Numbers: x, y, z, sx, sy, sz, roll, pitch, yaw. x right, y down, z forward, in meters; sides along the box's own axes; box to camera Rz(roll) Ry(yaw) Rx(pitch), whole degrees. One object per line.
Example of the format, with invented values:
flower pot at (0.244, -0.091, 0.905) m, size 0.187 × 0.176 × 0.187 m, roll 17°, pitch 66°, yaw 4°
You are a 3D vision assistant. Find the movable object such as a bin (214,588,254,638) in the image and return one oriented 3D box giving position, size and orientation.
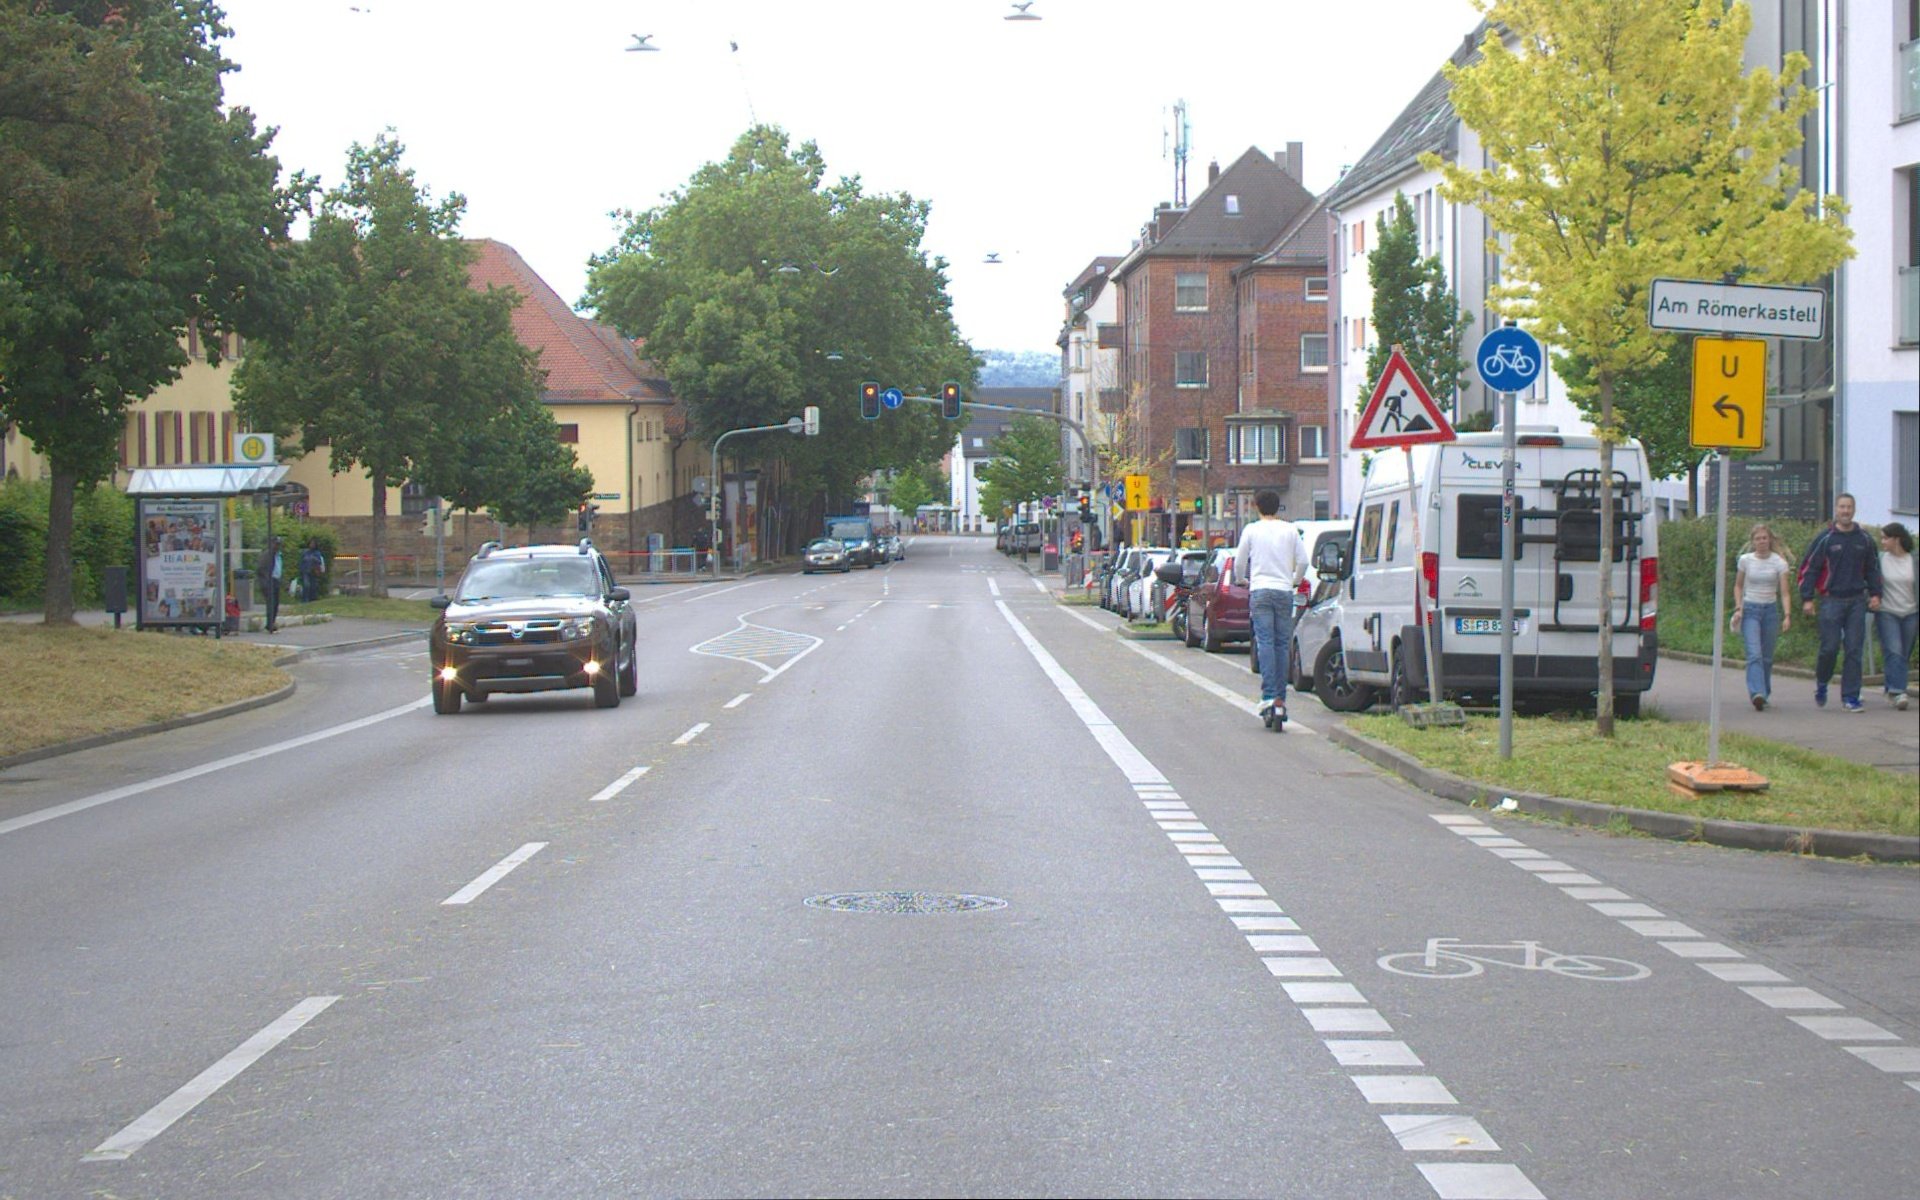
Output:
movable object such as a bin at (-12.565, 0.228, 59.507) m, size 0.536 × 0.843 × 0.665 m, roll 1°, pitch 1°, yaw 1°

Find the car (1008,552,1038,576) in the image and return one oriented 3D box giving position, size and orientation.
car at (4.039, -2.325, 221.508) m, size 1.668 × 1.542 × 3.757 m, roll 0°, pitch 1°, yaw -3°

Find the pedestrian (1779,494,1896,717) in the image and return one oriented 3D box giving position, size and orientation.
pedestrian at (7.520, 0.048, 29.468) m, size 0.670 × 1.880 × 0.766 m, roll -1°, pitch 0°, yaw -12°

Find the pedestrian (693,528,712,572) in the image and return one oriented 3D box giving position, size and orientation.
pedestrian at (-10.320, -2.010, 137.888) m, size 0.674 × 1.759 × 0.725 m, roll 0°, pitch 1°, yaw 4°

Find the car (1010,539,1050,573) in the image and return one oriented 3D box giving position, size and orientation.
car at (4.025, -2.528, 198.026) m, size 1.993 × 1.929 × 4.919 m, roll 0°, pitch 1°, yaw -3°

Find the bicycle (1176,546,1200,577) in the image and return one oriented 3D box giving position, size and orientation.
bicycle at (8.762, -1.485, 131.933) m, size 0.760 × 1.189 × 2.392 m, roll 0°, pitch 1°, yaw 0°

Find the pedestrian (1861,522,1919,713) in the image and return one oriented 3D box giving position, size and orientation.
pedestrian at (8.253, 0.136, 29.644) m, size 0.656 × 1.599 × 0.575 m, roll -4°, pitch 1°, yaw -9°

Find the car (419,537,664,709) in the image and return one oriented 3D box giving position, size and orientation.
car at (-4.137, 0.175, 34.603) m, size 1.899 × 1.614 × 4.362 m, roll 0°, pitch 1°, yaw 1°

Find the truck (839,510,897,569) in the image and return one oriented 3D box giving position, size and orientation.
truck at (-3.987, -2.593, 147.939) m, size 2.295 × 2.419 × 6.412 m, roll -1°, pitch 1°, yaw -3°

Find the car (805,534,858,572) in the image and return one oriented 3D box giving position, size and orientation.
car at (-5.192, -1.910, 139.286) m, size 1.756 × 1.467 × 4.306 m, roll -1°, pitch 1°, yaw 3°

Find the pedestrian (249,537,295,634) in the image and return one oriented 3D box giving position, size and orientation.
pedestrian at (-12.388, -0.270, 61.907) m, size 0.597 × 1.721 × 0.861 m, roll 1°, pitch 1°, yaw 3°

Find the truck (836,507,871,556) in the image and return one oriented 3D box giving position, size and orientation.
truck at (-7.249, -4.661, 234.292) m, size 2.231 × 3.335 × 7.450 m, roll 0°, pitch 1°, yaw -1°

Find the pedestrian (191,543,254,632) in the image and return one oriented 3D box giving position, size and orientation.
pedestrian at (-12.814, -0.225, 59.748) m, size 0.899 × 1.504 × 0.806 m, roll 1°, pitch 1°, yaw 1°

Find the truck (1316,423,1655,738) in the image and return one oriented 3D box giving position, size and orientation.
truck at (4.579, -0.209, 30.883) m, size 2.052 × 2.557 × 5.690 m, roll 0°, pitch 1°, yaw -1°

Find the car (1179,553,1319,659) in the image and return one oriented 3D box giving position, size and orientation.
car at (4.389, 0.060, 52.731) m, size 1.680 × 1.539 × 4.339 m, roll 0°, pitch 1°, yaw -1°

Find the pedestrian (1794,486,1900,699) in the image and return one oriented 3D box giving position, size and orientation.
pedestrian at (7.955, -0.066, 30.841) m, size 0.670 × 1.880 × 0.620 m, roll -1°, pitch 0°, yaw -17°

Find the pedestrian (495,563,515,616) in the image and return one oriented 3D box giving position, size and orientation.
pedestrian at (-15.329, -0.371, 115.828) m, size 0.564 × 1.771 × 0.842 m, roll 0°, pitch 1°, yaw 0°

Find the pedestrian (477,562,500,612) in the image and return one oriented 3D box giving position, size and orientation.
pedestrian at (-15.066, -0.415, 109.837) m, size 0.564 × 1.561 × 0.842 m, roll 0°, pitch 1°, yaw 5°

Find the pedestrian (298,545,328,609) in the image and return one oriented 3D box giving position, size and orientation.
pedestrian at (-16.433, -0.587, 87.319) m, size 0.640 × 1.613 × 0.618 m, roll 0°, pitch 1°, yaw -1°

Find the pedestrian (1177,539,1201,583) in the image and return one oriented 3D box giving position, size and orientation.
pedestrian at (8.736, -1.495, 131.068) m, size 0.788 × 1.650 × 0.772 m, roll -2°, pitch 1°, yaw 1°

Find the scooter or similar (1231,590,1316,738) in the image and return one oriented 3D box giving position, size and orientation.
scooter or similar at (2.601, 0.510, 28.683) m, size 0.490 × 1.159 × 2.075 m, roll 0°, pitch 1°, yaw -1°

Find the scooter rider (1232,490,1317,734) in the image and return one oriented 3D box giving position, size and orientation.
scooter rider at (2.621, 0.091, 28.721) m, size 0.625 × 2.007 × 0.758 m, roll 0°, pitch 1°, yaw -1°

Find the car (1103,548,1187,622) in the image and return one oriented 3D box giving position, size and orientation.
car at (4.529, -0.392, 84.622) m, size 1.659 × 1.710 × 4.552 m, roll 1°, pitch 1°, yaw -1°

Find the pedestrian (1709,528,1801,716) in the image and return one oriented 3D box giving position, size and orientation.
pedestrian at (7.002, 0.193, 30.294) m, size 0.576 × 1.638 × 0.562 m, roll -1°, pitch 0°, yaw -14°

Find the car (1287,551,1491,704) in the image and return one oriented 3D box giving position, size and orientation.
car at (4.442, 0.246, 36.053) m, size 1.525 × 1.480 × 3.727 m, roll 1°, pitch 1°, yaw -2°

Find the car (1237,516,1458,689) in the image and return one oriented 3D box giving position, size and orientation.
car at (4.575, -0.018, 41.290) m, size 1.993 × 1.937 × 5.212 m, roll 0°, pitch 1°, yaw -1°

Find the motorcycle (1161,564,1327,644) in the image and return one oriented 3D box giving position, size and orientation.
motorcycle at (4.611, 0.058, 55.890) m, size 2.597 × 1.274 × 0.753 m, roll 0°, pitch 1°, yaw -4°
